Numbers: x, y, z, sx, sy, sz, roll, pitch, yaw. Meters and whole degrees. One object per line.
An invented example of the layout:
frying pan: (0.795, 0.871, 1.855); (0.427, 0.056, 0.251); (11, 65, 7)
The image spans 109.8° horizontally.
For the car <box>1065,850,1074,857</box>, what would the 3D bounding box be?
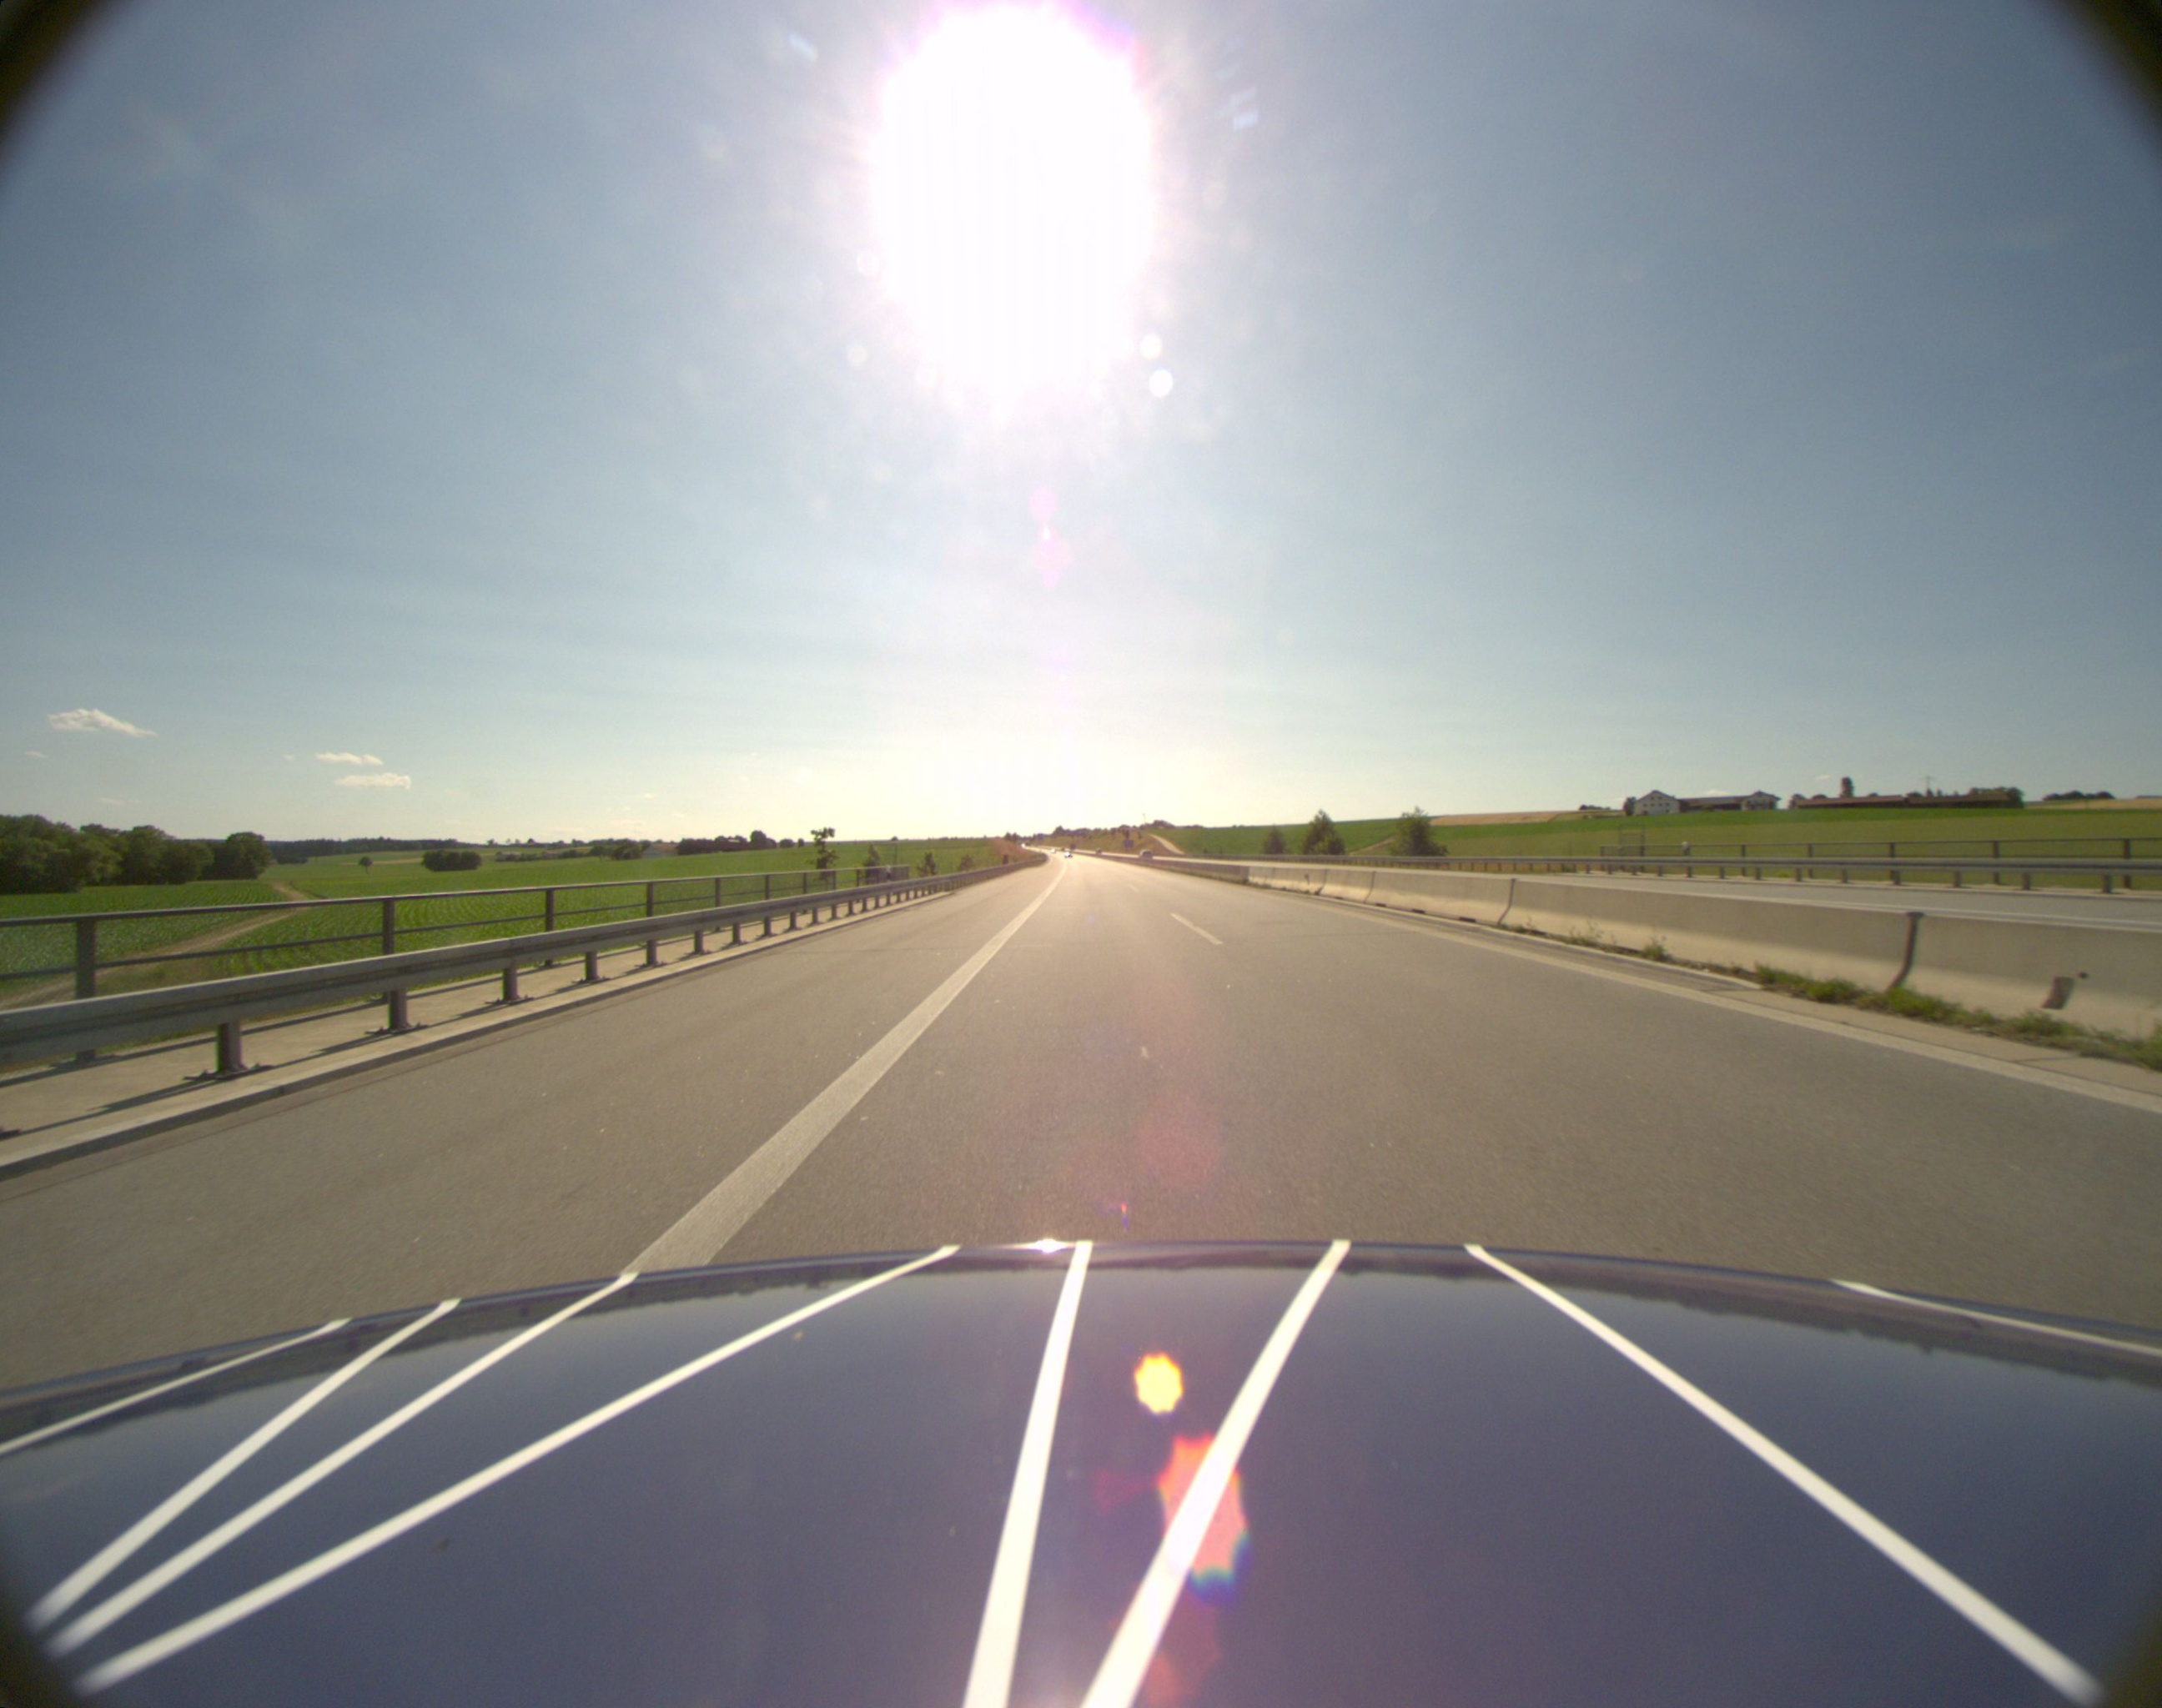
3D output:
car: (-2.696, -0.189, 182.341); (1.715, 1.580, 4.627); (-3, 1, 2)

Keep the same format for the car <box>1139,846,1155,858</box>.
car: (10.305, -0.293, 118.177); (1.871, 1.715, 4.397); (-3, 1, -2)
